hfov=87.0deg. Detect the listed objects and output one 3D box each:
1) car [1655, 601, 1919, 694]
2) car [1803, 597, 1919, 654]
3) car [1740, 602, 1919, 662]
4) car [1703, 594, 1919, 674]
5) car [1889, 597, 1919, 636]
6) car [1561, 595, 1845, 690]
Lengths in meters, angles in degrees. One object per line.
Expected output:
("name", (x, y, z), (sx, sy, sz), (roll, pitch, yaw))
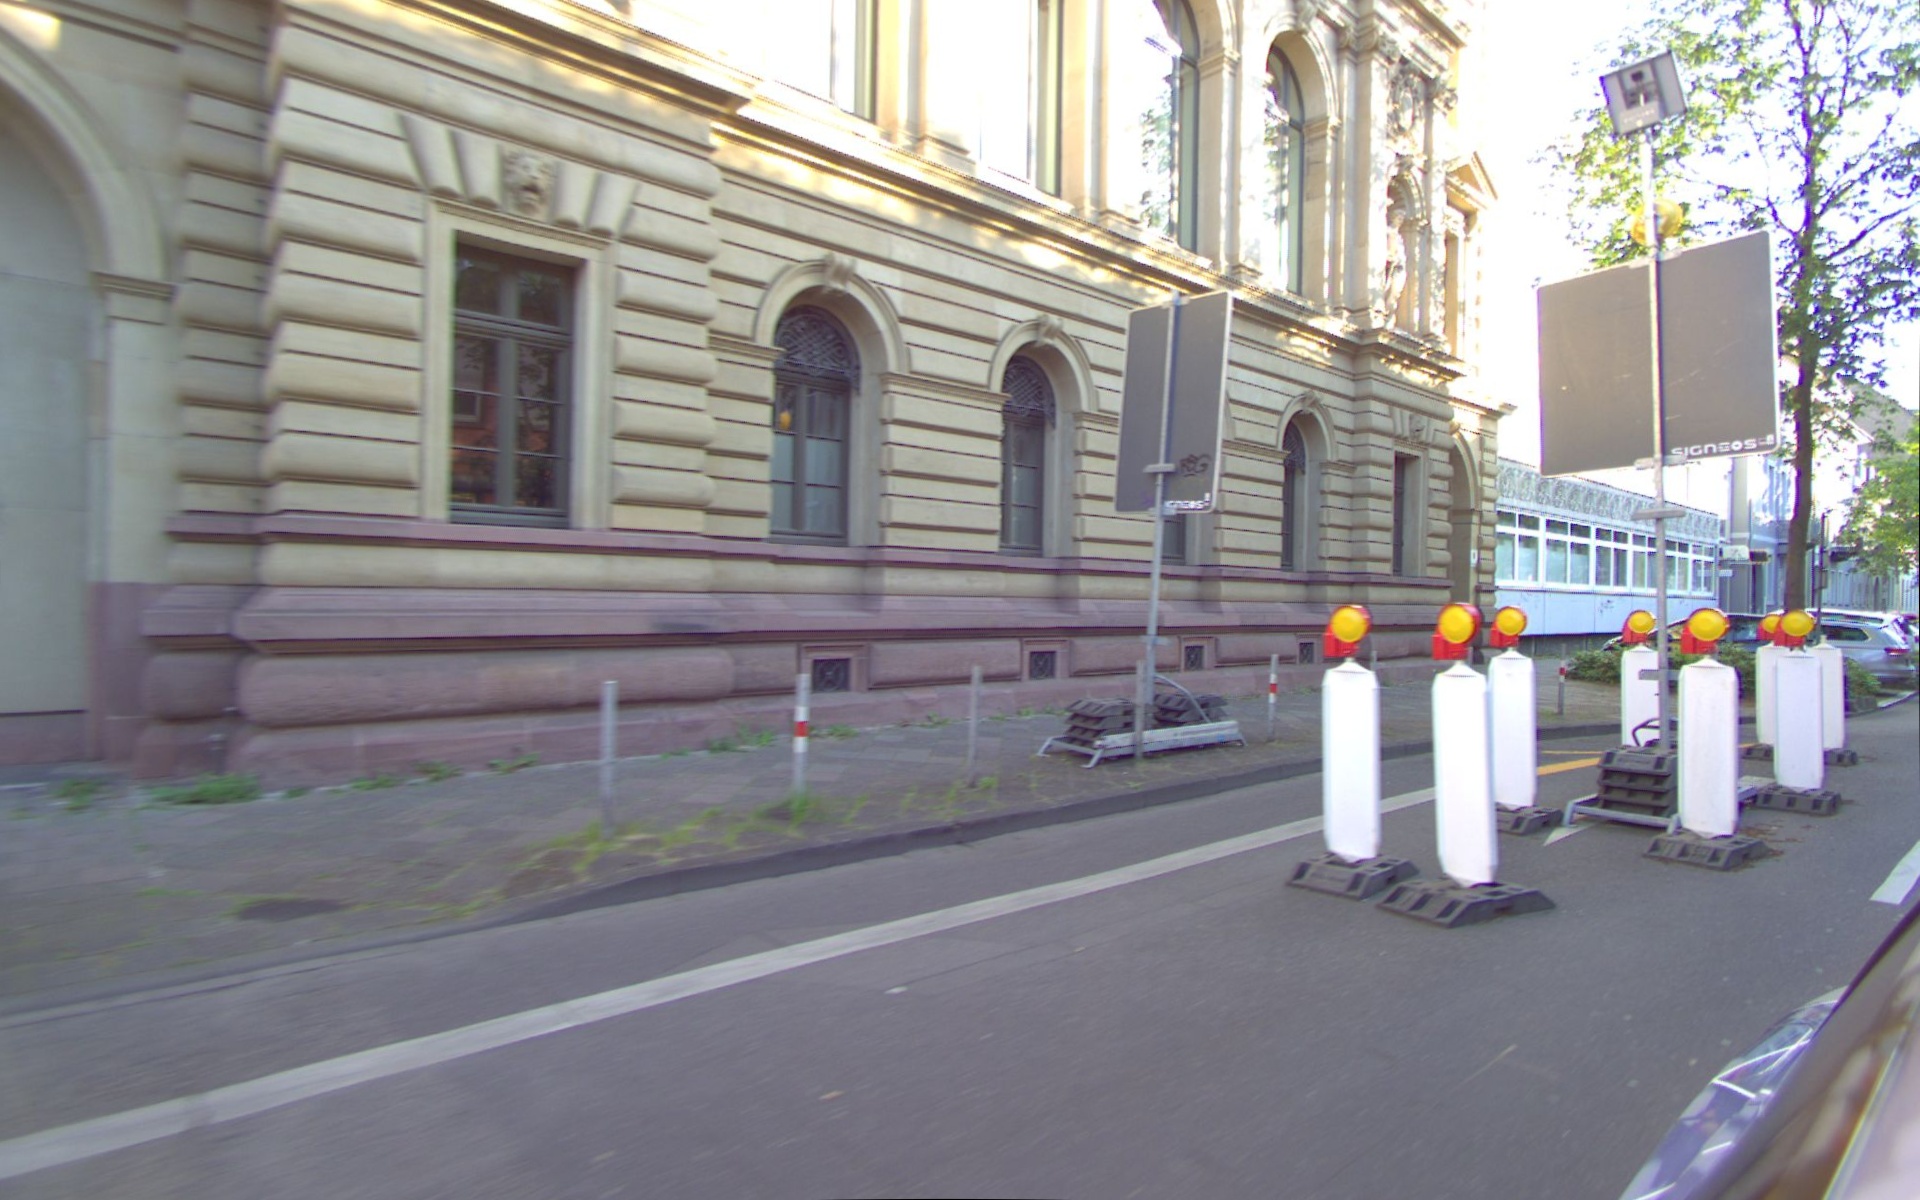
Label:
("car", (17.479, 0.905, 21.327), (1.643, 1.513, 4.367), (1, 3, -41))
("car", (30.231, 0.829, 32.708), (1.704, 1.644, 4.363), (1, 2, -43))
("car", (26.063, 0.900, 30.008), (1.855, 1.512, 4.363), (1, 2, -43))
("car", (21.926, 0.799, 25.906), (2.020, 1.662, 4.364), (1, 3, -43))
("car", (46.958, 0.872, 47.801), (1.704, 1.800, 4.363), (1, 2, -43))
("car", (14.860, 0.759, 20.424), (1.804, 1.482, 4.361), (0, 3, -44))
